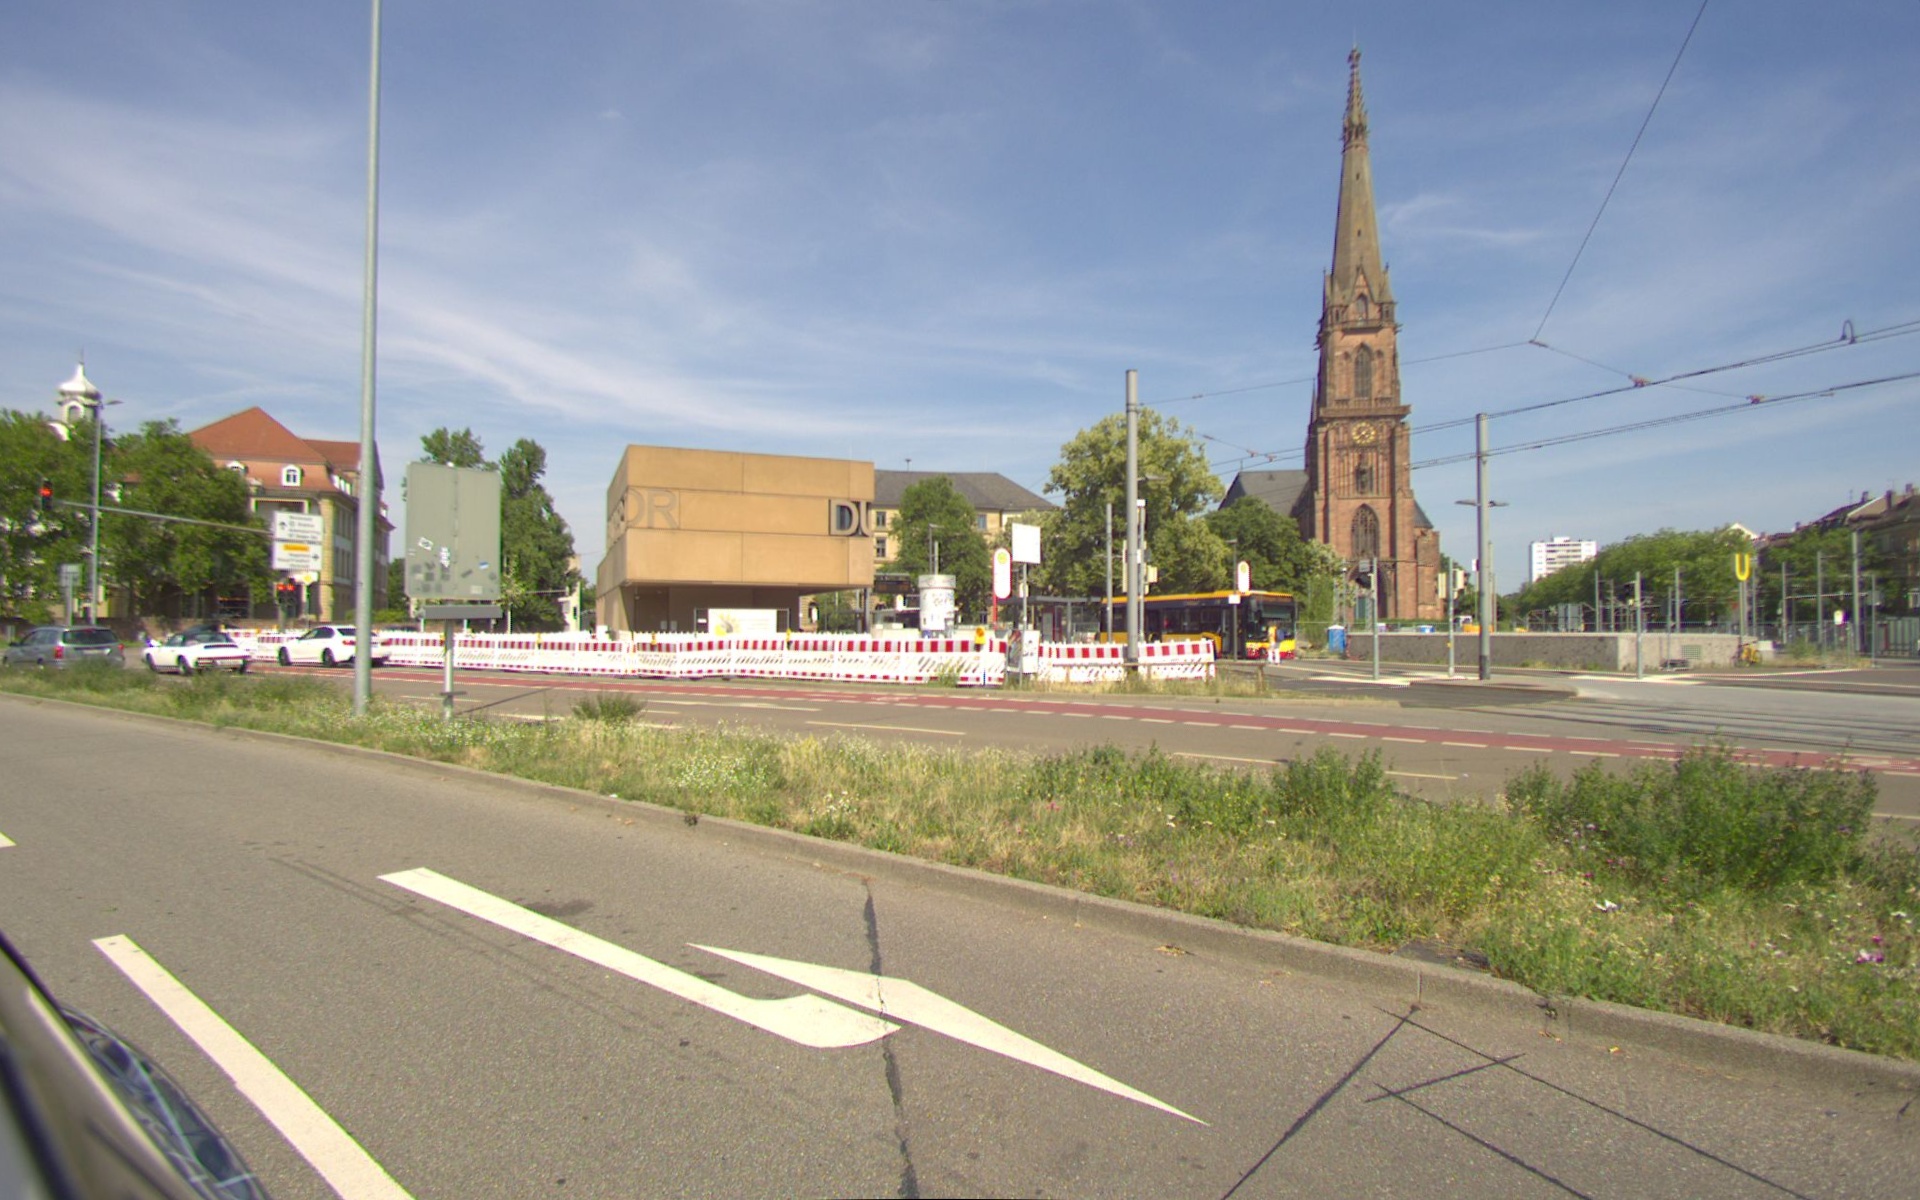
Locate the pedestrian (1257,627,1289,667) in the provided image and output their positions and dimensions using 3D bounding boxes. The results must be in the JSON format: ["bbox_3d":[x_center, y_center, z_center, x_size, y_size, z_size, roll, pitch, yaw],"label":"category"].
[{"bbox_3d":[10.950,1.630,35.375,0.911,1.377,0.532,-1,0,41],"label":"pedestrian"}]

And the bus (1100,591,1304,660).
[{"bbox_3d":[10.491,1.015,45.990,2.711,2.703,11.828,-1,0,-22],"label":"bus"}]

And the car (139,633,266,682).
[{"bbox_3d":[-22.430,1.654,29.928,3.984,1.296,1.583,-1,0,30],"label":"car"}]

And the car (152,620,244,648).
[{"bbox_3d":[-43.949,1.942,58.477,1.743,1.454,4.092,-1,0,16],"label":"car"}]

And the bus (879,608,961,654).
[{"bbox_3d":[-3.343,2.440,79.576,2.710,3.348,11.827,1,-2,-22],"label":"bus"}]

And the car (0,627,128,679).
[{"bbox_3d":[-24.700,1.415,27.804,3.984,1.296,1.583,-1,0,30],"label":"car"}]

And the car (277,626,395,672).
[{"bbox_3d":[-21.399,1.632,34.668,3.984,1.431,1.785,-1,0,30],"label":"car"}]
